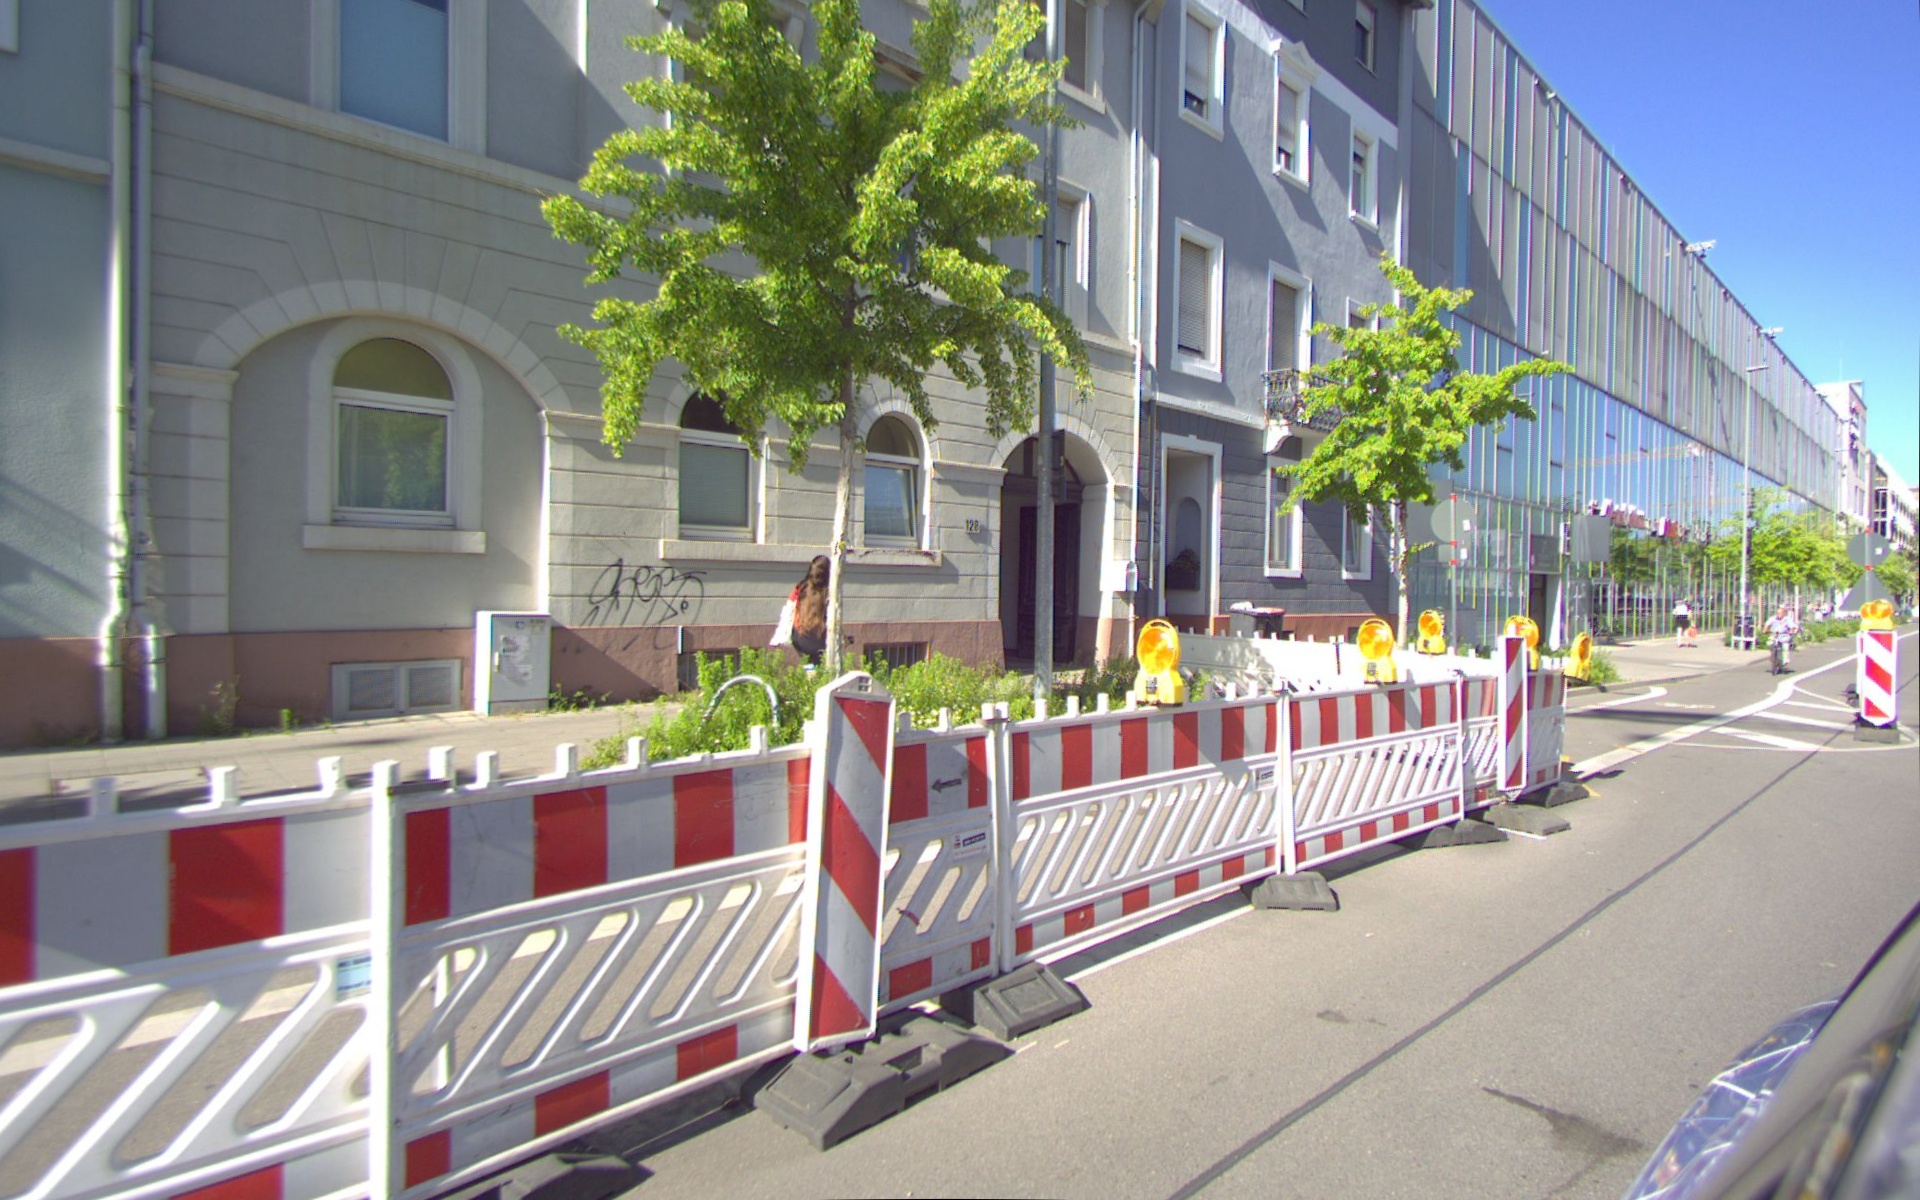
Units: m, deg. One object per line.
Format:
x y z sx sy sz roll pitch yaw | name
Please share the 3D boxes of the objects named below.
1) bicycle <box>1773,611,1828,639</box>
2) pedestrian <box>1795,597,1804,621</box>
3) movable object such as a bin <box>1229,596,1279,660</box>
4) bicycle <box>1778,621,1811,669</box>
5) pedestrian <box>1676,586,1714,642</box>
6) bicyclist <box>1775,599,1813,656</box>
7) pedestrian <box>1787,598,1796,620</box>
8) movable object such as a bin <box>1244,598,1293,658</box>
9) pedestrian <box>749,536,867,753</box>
37.105 1.110 44.693 1.727 1.075 0.462 5 2 32 | bicycle
61.717 0.649 74.419 0.339 1.712 0.449 1 0 -43 | pedestrian
5.332 0.495 18.372 0.691 1.122 0.589 1 0 -42 | movable object such as a bin
22.188 1.177 26.907 0.608 1.165 1.958 0 0 41 | bicycle
27.145 0.496 37.385 0.881 1.947 0.877 -2 5 -43 | pedestrian
22.206 0.722 26.945 0.753 1.480 0.578 1 1 42 | bicyclist
61.394 0.641 74.750 0.282 1.620 0.449 1 0 -43 | pedestrian
5.806 0.513 19.044 0.691 1.096 0.604 1 0 -42 | movable object such as a bin
-1.446 0.395 9.651 0.789 1.953 0.762 1 0 31 | pedestrian
